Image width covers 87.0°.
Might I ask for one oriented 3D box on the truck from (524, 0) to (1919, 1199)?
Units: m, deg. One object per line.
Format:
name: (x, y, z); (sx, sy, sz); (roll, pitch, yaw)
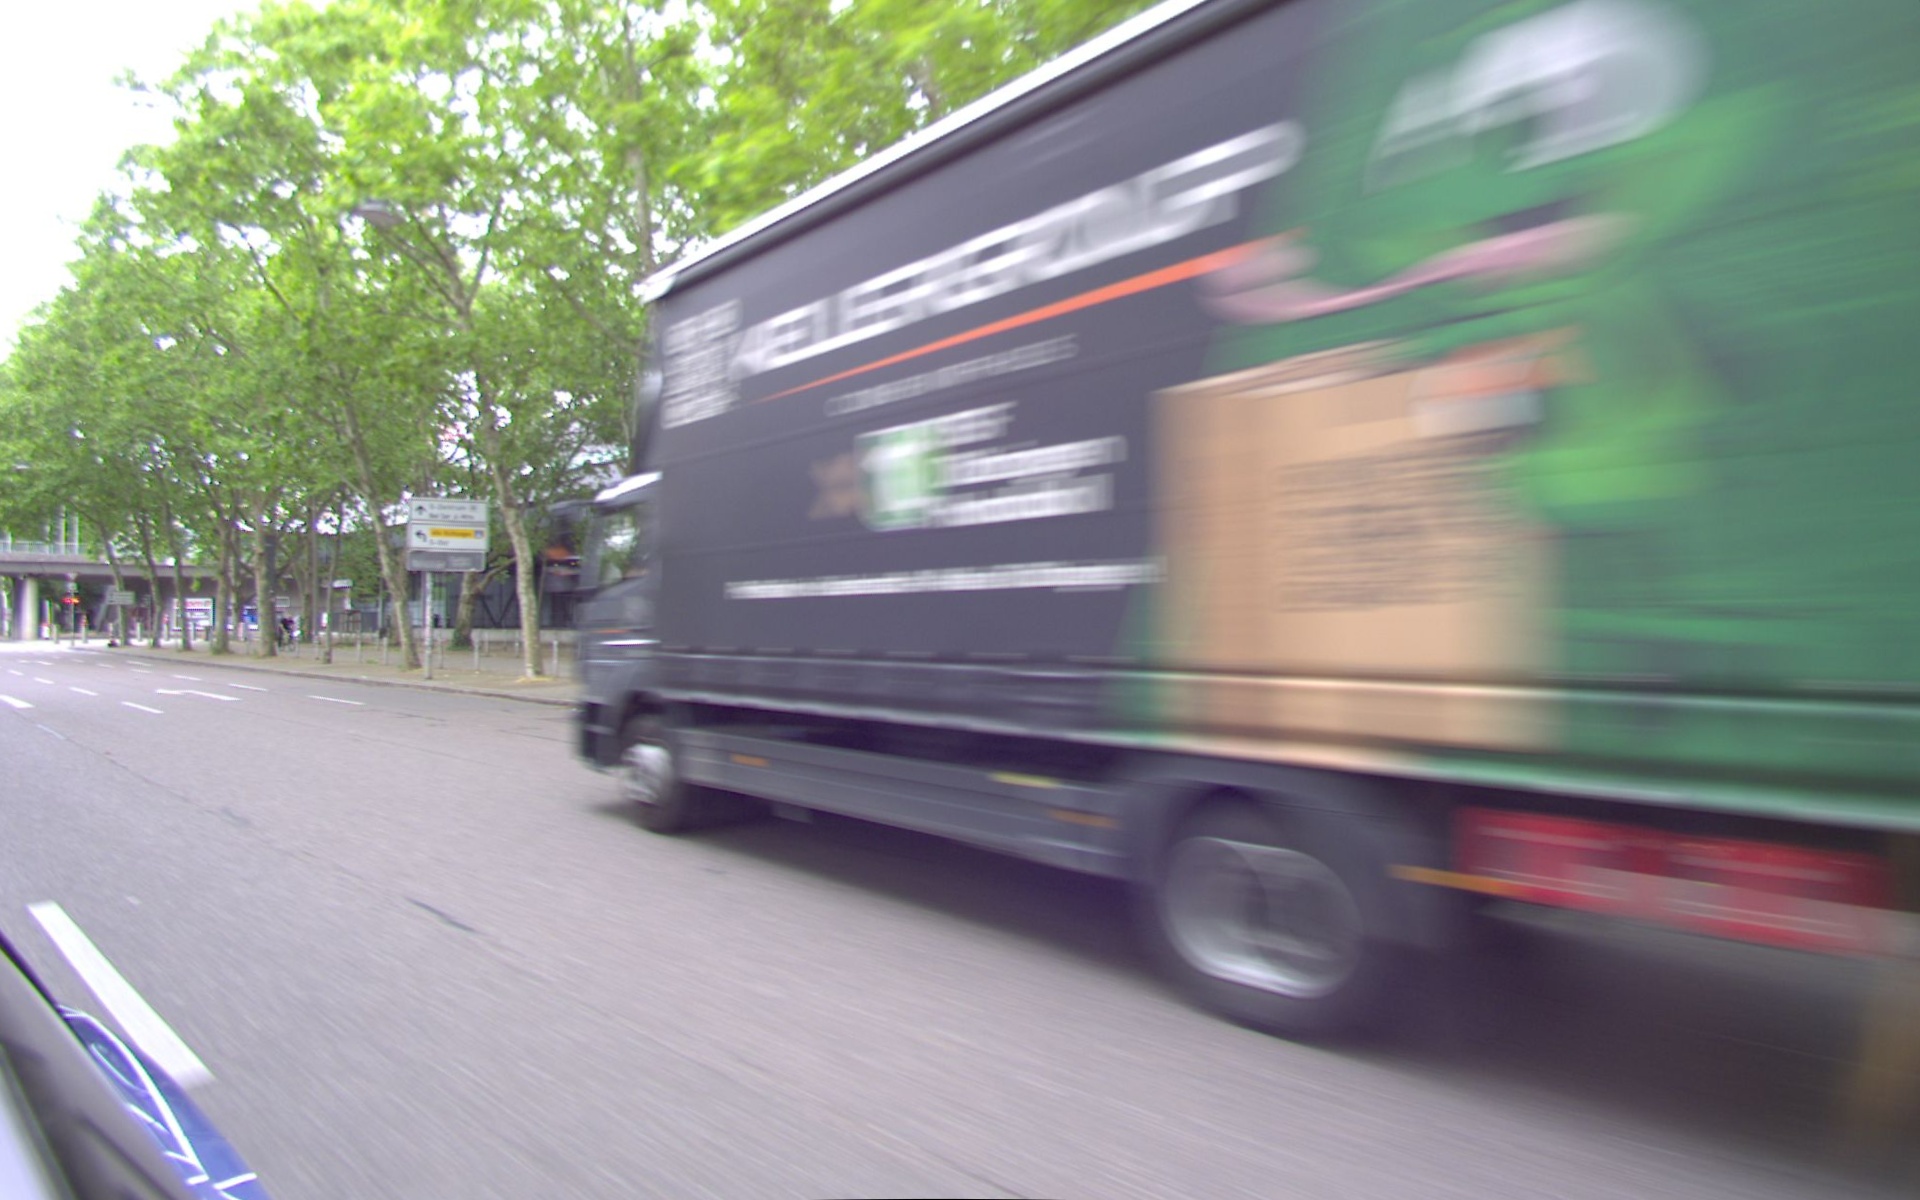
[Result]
truck: (0.904, -0.461, 5.686); (2.876, 3.898, 9.473); (3, -3, -44)

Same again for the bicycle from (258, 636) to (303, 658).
bicycle: (-32.037, 2.209, 47.688); (2.974, 0.990, 0.949); (-2, -1, 40)

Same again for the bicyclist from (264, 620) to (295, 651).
bicyclist: (-32.056, 1.676, 47.690); (1.120, 1.421, 0.926); (-2, -1, 40)

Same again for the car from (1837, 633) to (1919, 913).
car: (6.954, 0.963, 5.107); (3.644, 1.489, 1.679); (-1, -5, 36)
